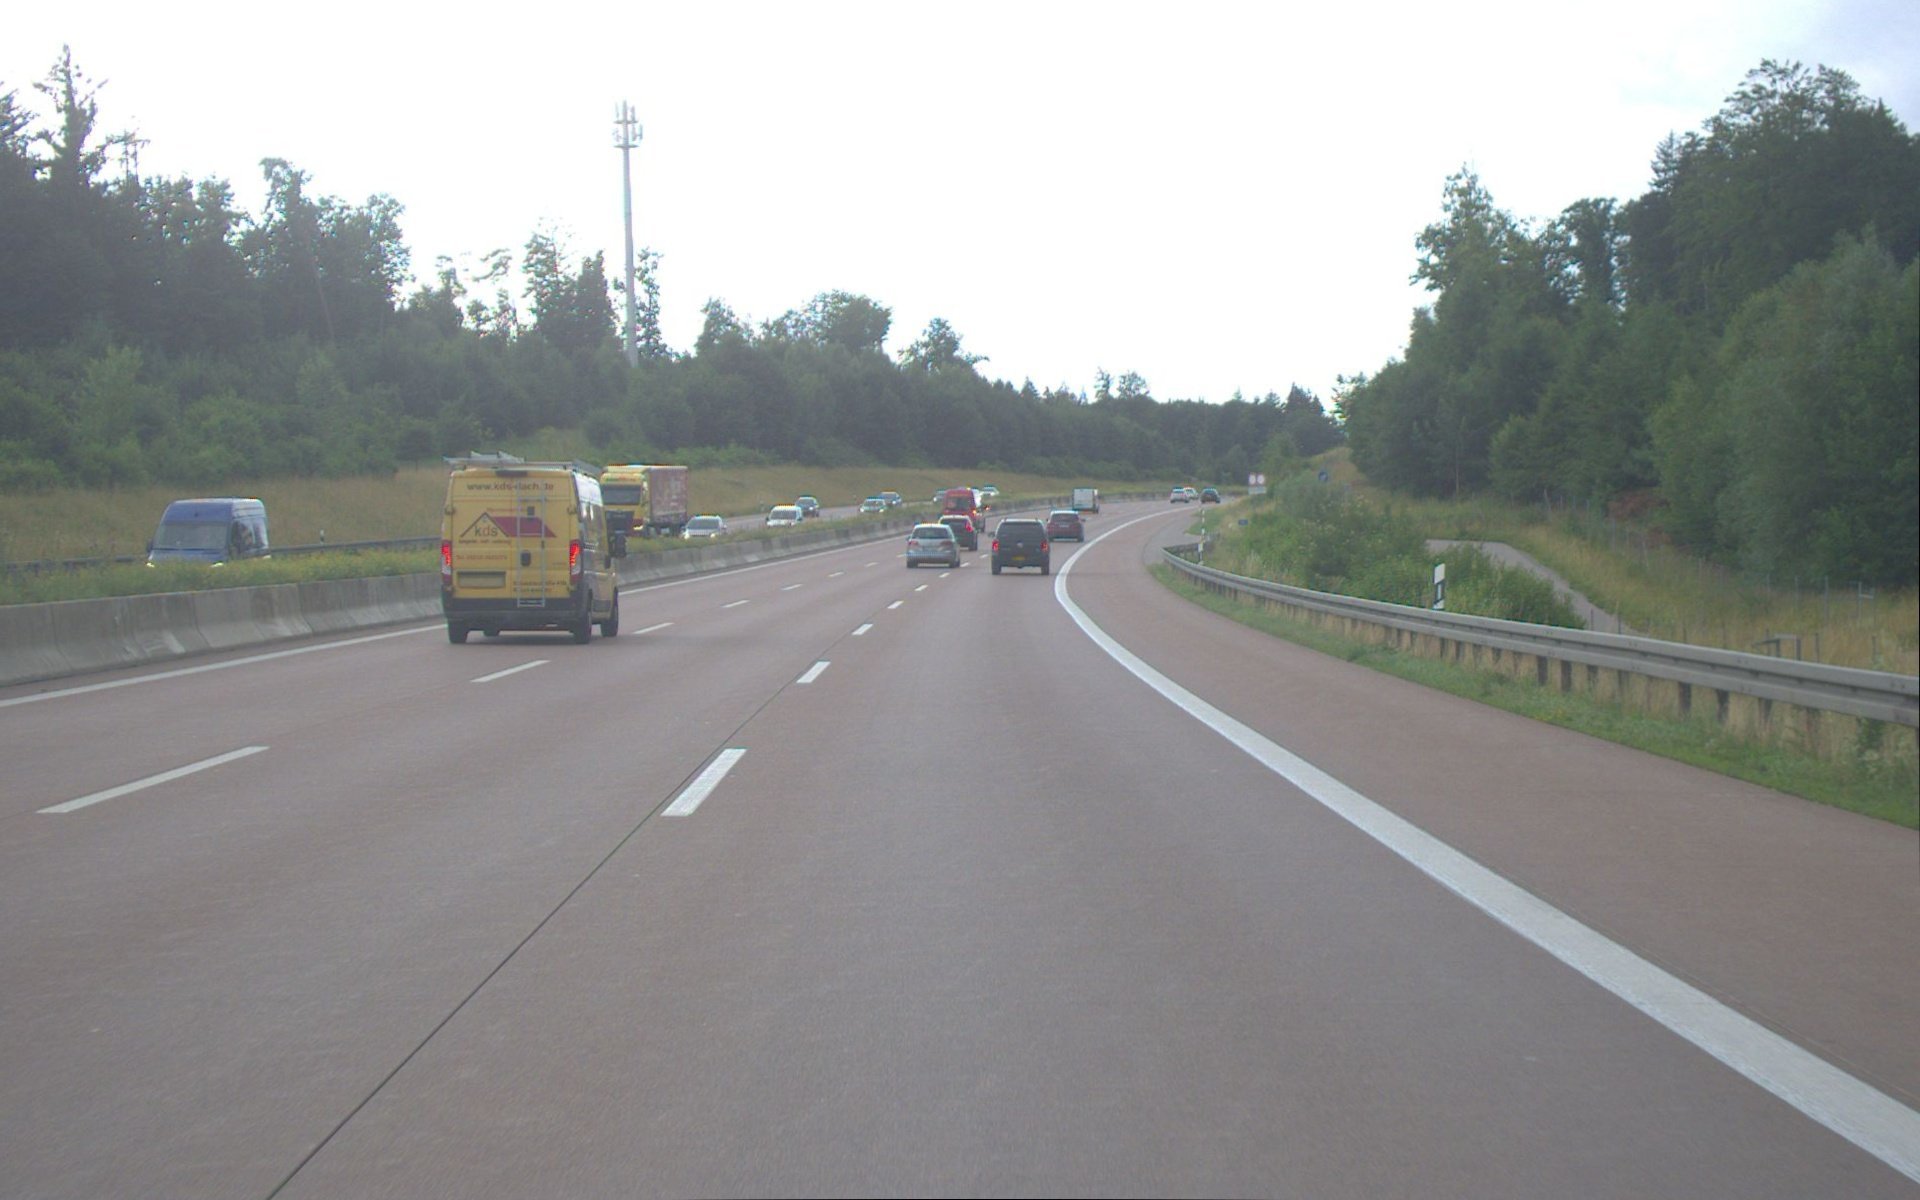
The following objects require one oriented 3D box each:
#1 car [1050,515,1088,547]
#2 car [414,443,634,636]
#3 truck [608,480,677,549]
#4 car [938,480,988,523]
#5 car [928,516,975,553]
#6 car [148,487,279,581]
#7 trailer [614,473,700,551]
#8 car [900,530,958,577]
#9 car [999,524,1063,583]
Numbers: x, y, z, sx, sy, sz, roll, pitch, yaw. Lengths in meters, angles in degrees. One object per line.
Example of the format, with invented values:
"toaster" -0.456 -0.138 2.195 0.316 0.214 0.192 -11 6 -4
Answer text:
"car" 5.801 -3.644 182.856 1.978 1.642 4.619 0 1 2
"car" -6.398 -0.884 51.154 2.458 2.697 5.613 0 1 1
"truck" -16.999 -4.552 184.427 3.012 3.570 6.057 1 0 1
"car" 0.219 -5.810 204.101 2.241 2.421 6.203 2 1 6
"car" -0.367 -3.008 158.610 1.978 1.642 4.619 0 1 2
"car" -18.518 -1.656 85.488 1.993 2.234 6.041 1 1 -1
"trailer" -16.797 -4.840 191.488 3.033 4.028 14.531 1 0 2
"car" -1.106 -1.670 124.292 1.978 1.642 4.619 0 1 1
"car" 2.341 -1.523 113.707 2.044 1.890 5.577 0 1 1
